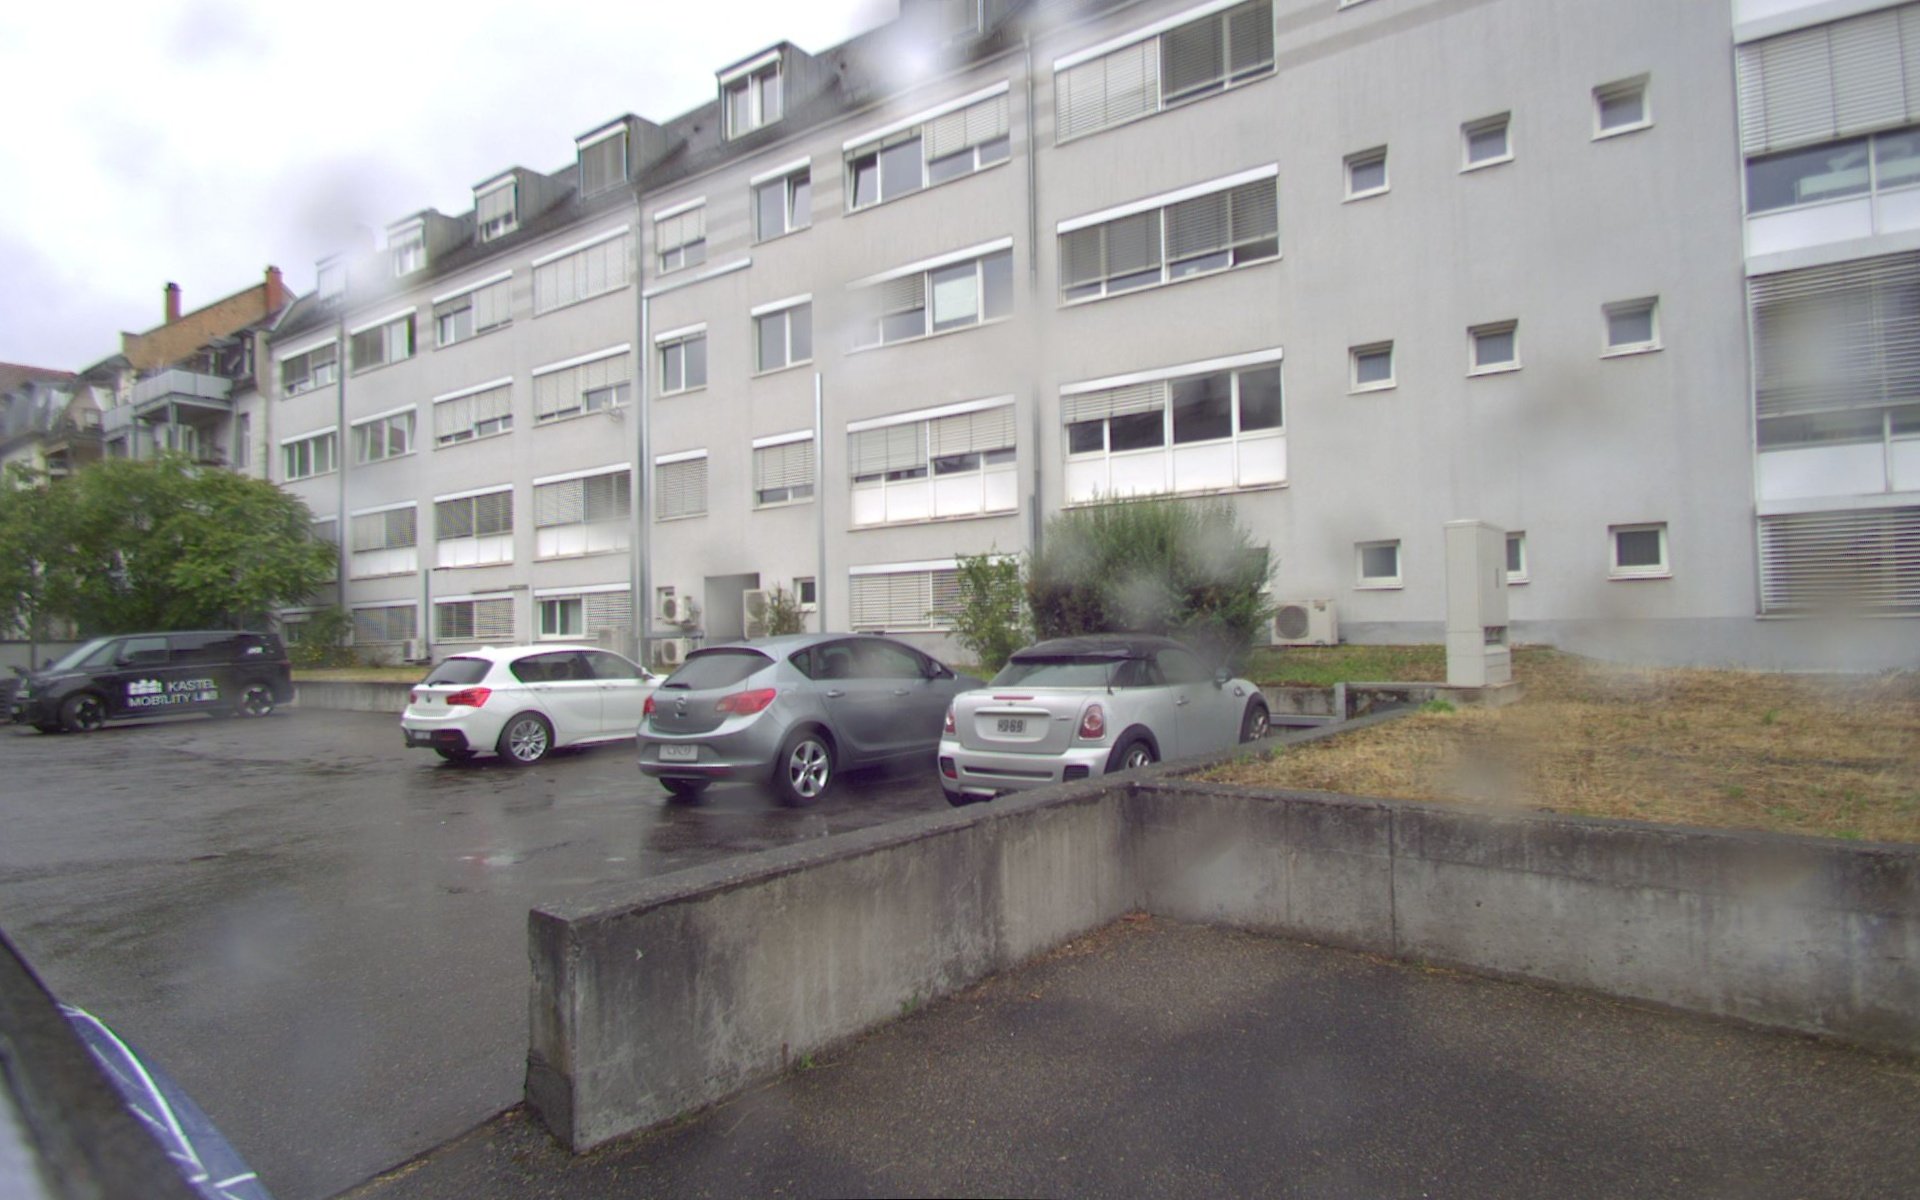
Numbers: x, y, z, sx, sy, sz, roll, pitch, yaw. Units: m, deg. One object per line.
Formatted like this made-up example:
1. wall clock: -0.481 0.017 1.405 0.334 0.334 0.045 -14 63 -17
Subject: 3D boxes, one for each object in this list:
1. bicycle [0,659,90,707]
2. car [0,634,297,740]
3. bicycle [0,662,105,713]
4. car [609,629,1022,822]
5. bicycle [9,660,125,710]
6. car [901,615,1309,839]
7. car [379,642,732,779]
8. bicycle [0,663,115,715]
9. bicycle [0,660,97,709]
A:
1. bicycle: -25.488 2.283 27.838 0.643 1.195 2.290 0 -1 40
2. car: -16.744 1.718 21.031 1.982 1.851 4.580 -4 -3 32
3. bicycle: -24.106 2.280 26.686 0.643 1.195 2.290 0 -1 40
4. car: -1.233 1.093 10.268 1.818 1.495 4.129 -4 -3 35
5. bicycle: -24.266 2.286 27.535 0.643 1.195 2.290 0 -1 40
6. car: 1.516 0.925 9.008 1.819 1.343 4.128 -4 -1 36
7. car: -5.181 1.332 13.465 1.749 1.444 4.103 -2 -2 35
8. bicycle: -23.446 2.279 26.232 0.643 1.195 2.290 0 -1 40
9. bicycle: -24.975 2.282 27.468 0.643 1.195 2.290 0 -1 40
